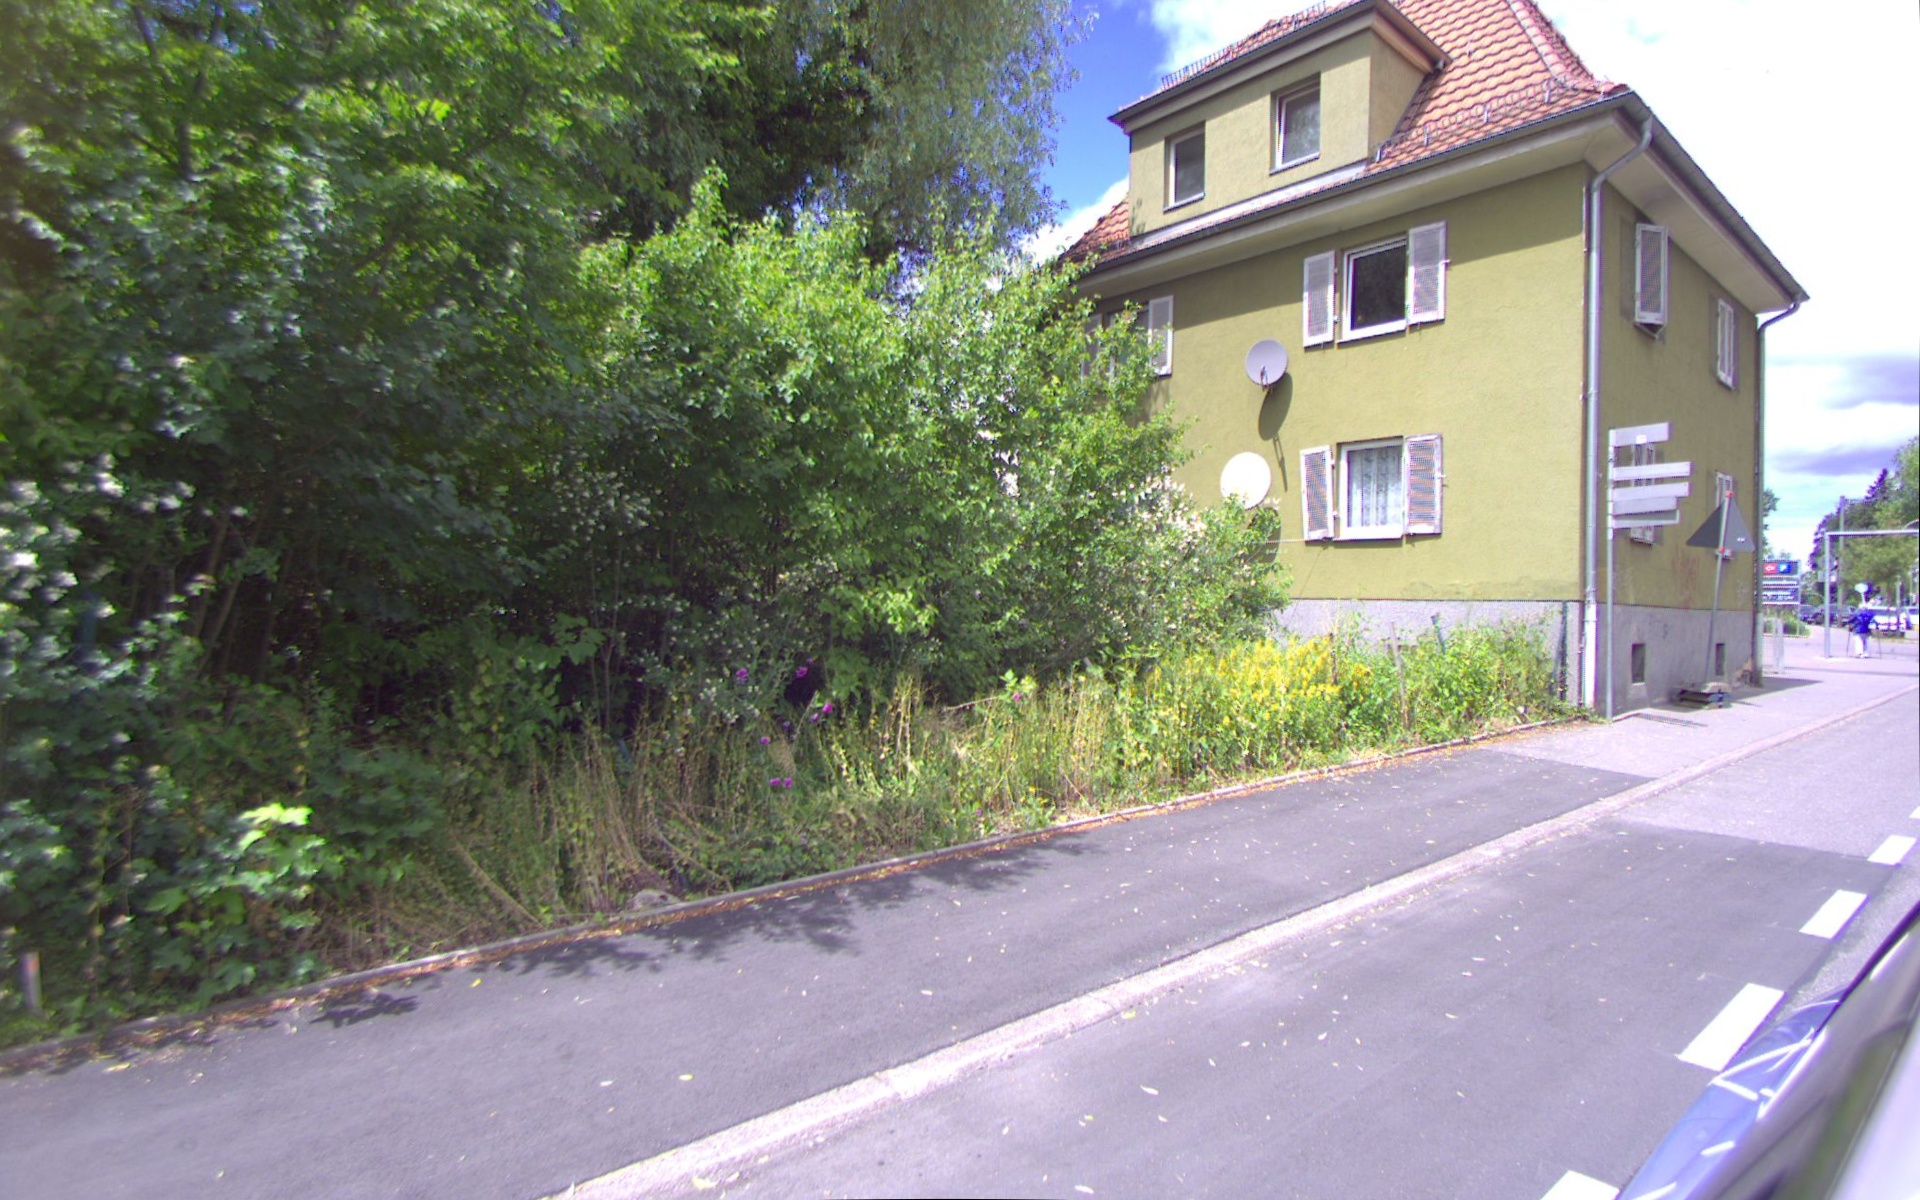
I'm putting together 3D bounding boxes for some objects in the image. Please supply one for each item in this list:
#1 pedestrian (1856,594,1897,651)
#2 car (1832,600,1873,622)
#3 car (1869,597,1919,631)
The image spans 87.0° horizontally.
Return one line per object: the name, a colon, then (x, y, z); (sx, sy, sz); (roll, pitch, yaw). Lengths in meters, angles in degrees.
pedestrian: (26.416, 0.625, 29.165); (0.824, 1.592, 0.972); (2, 1, 45)
car: (64.957, 0.788, 73.715); (1.694, 1.551, 3.951); (-1, -1, 34)
car: (47.510, 0.679, 51.388); (1.788, 1.549, 3.864); (4, 2, 40)
